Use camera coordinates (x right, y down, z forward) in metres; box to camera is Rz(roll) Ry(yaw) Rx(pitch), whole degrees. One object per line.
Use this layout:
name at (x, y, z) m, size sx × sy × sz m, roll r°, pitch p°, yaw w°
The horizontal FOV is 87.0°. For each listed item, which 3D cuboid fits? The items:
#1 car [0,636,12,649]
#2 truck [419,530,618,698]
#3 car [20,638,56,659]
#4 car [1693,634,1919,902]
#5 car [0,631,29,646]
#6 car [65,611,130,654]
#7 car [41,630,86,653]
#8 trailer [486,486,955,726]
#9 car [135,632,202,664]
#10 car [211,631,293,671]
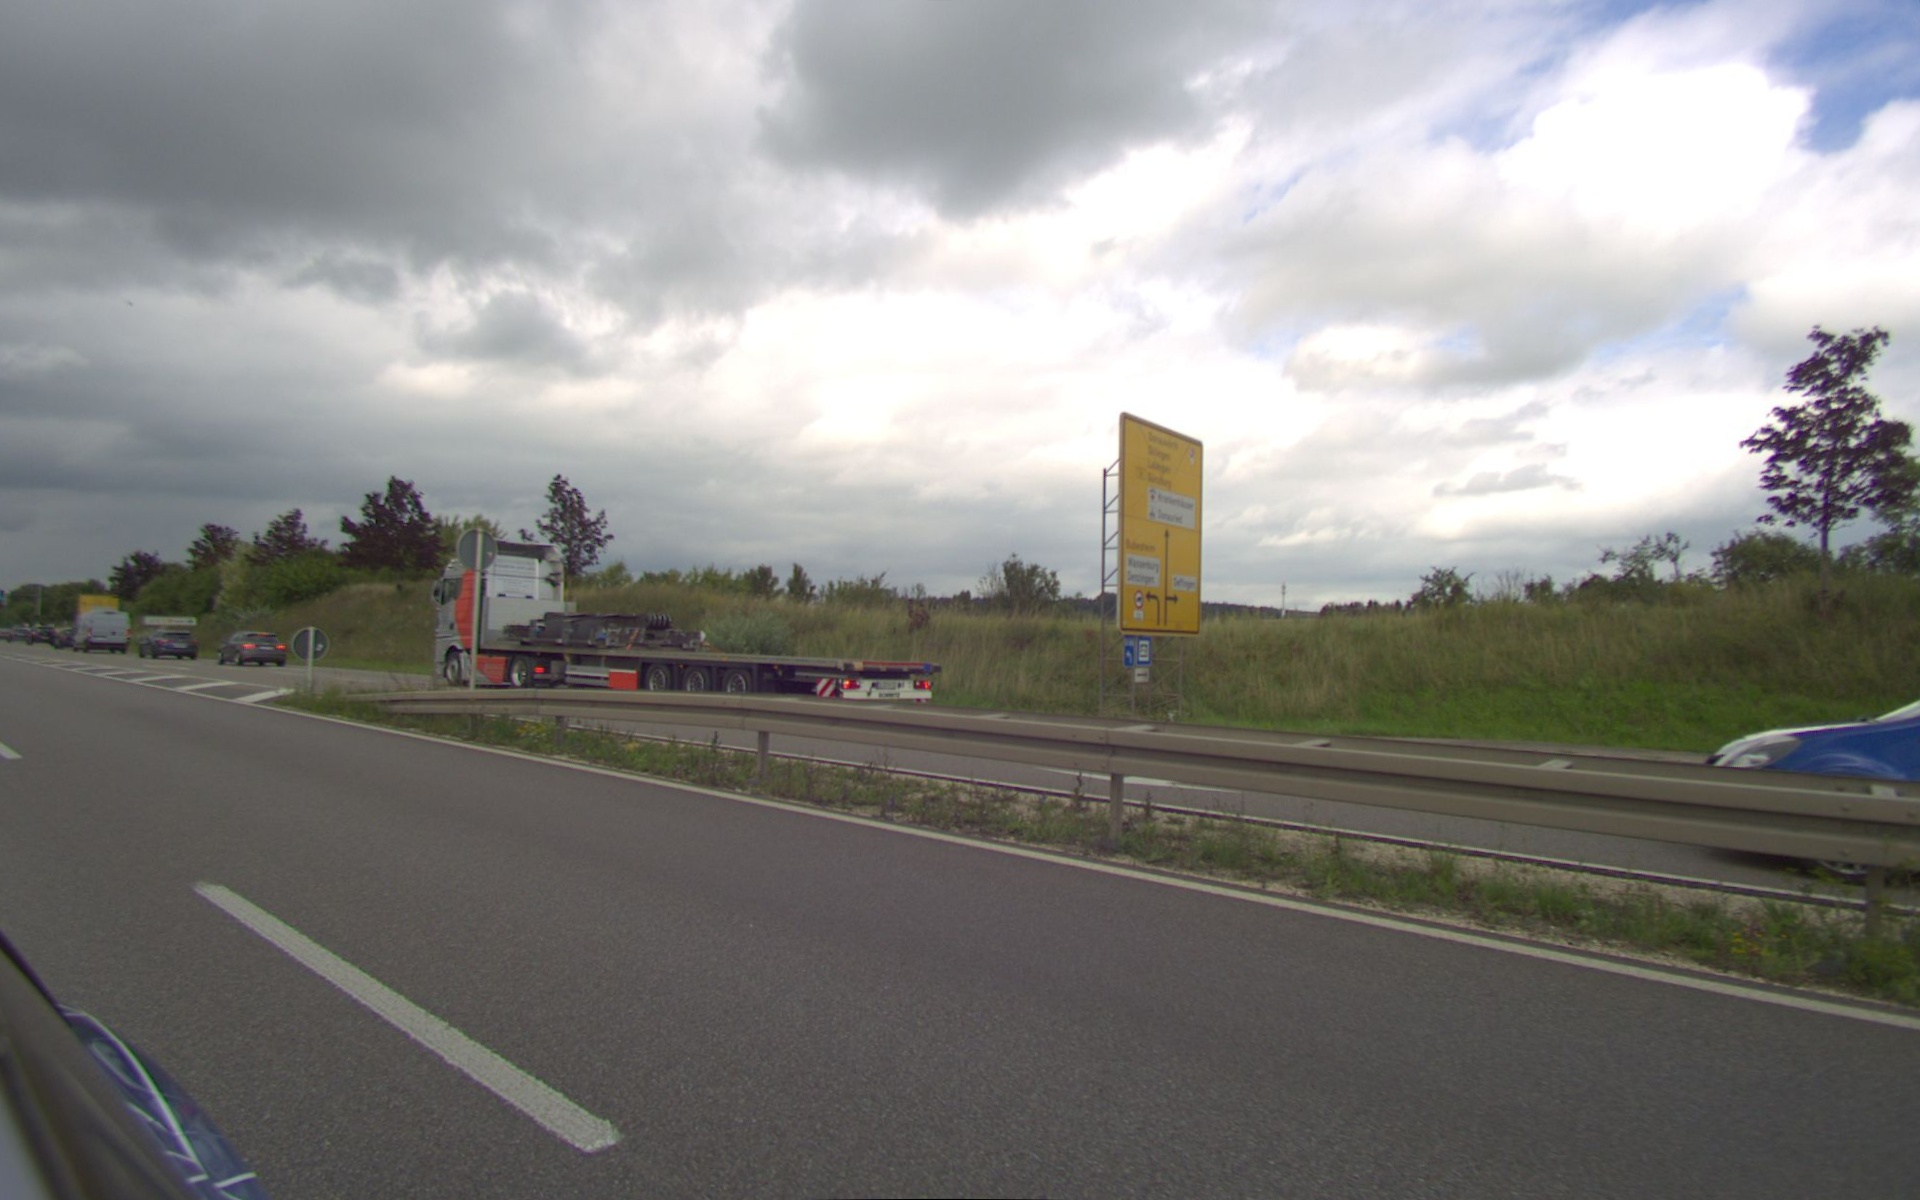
car at (-116.216, 5.125, 122.400) m, size 4.705 × 1.416 × 1.774 m, roll -2°, pitch -6°, yaw 43°
truck at (-11.852, 0.432, 27.048) m, size 5.283 × 4.028 × 2.774 m, roll -2°, pitch -3°, yaw 40°
car at (-78.724, 4.136, 86.416) m, size 4.515 × 1.647 × 1.774 m, roll -2°, pitch -6°, yaw 43°
car at (6.963, 0.967, 5.887) m, size 4.191 × 1.530 × 2.064 m, roll -2°, pitch -3°, yaw 41°
car at (-97.794, 3.979, 104.643) m, size 4.705 × 1.523 × 1.774 m, roll -2°, pitch -6°, yaw 43°
car at (-52.467, 2.015, 61.546) m, size 5.631 × 2.458 × 2.012 m, roll -2°, pitch -5°, yaw 40°
car at (-62.262, 2.903, 70.275) m, size 4.190 × 1.542 × 1.714 m, roll -2°, pitch -5°, yaw 40°
trailer at (-5.914, 0.295, 22.010) m, size 12.974 × 3.977 × 2.747 m, roll -2°, pitch -3°, yaw 40°
car at (-40.197, 2.447, 51.376) m, size 4.545 × 1.542 × 1.714 m, roll -2°, pitch -5°, yaw 40°
car at (-29.594, 2.126, 42.254) m, size 4.190 × 1.542 × 1.715 m, roll -2°, pitch -5°, yaw 40°
